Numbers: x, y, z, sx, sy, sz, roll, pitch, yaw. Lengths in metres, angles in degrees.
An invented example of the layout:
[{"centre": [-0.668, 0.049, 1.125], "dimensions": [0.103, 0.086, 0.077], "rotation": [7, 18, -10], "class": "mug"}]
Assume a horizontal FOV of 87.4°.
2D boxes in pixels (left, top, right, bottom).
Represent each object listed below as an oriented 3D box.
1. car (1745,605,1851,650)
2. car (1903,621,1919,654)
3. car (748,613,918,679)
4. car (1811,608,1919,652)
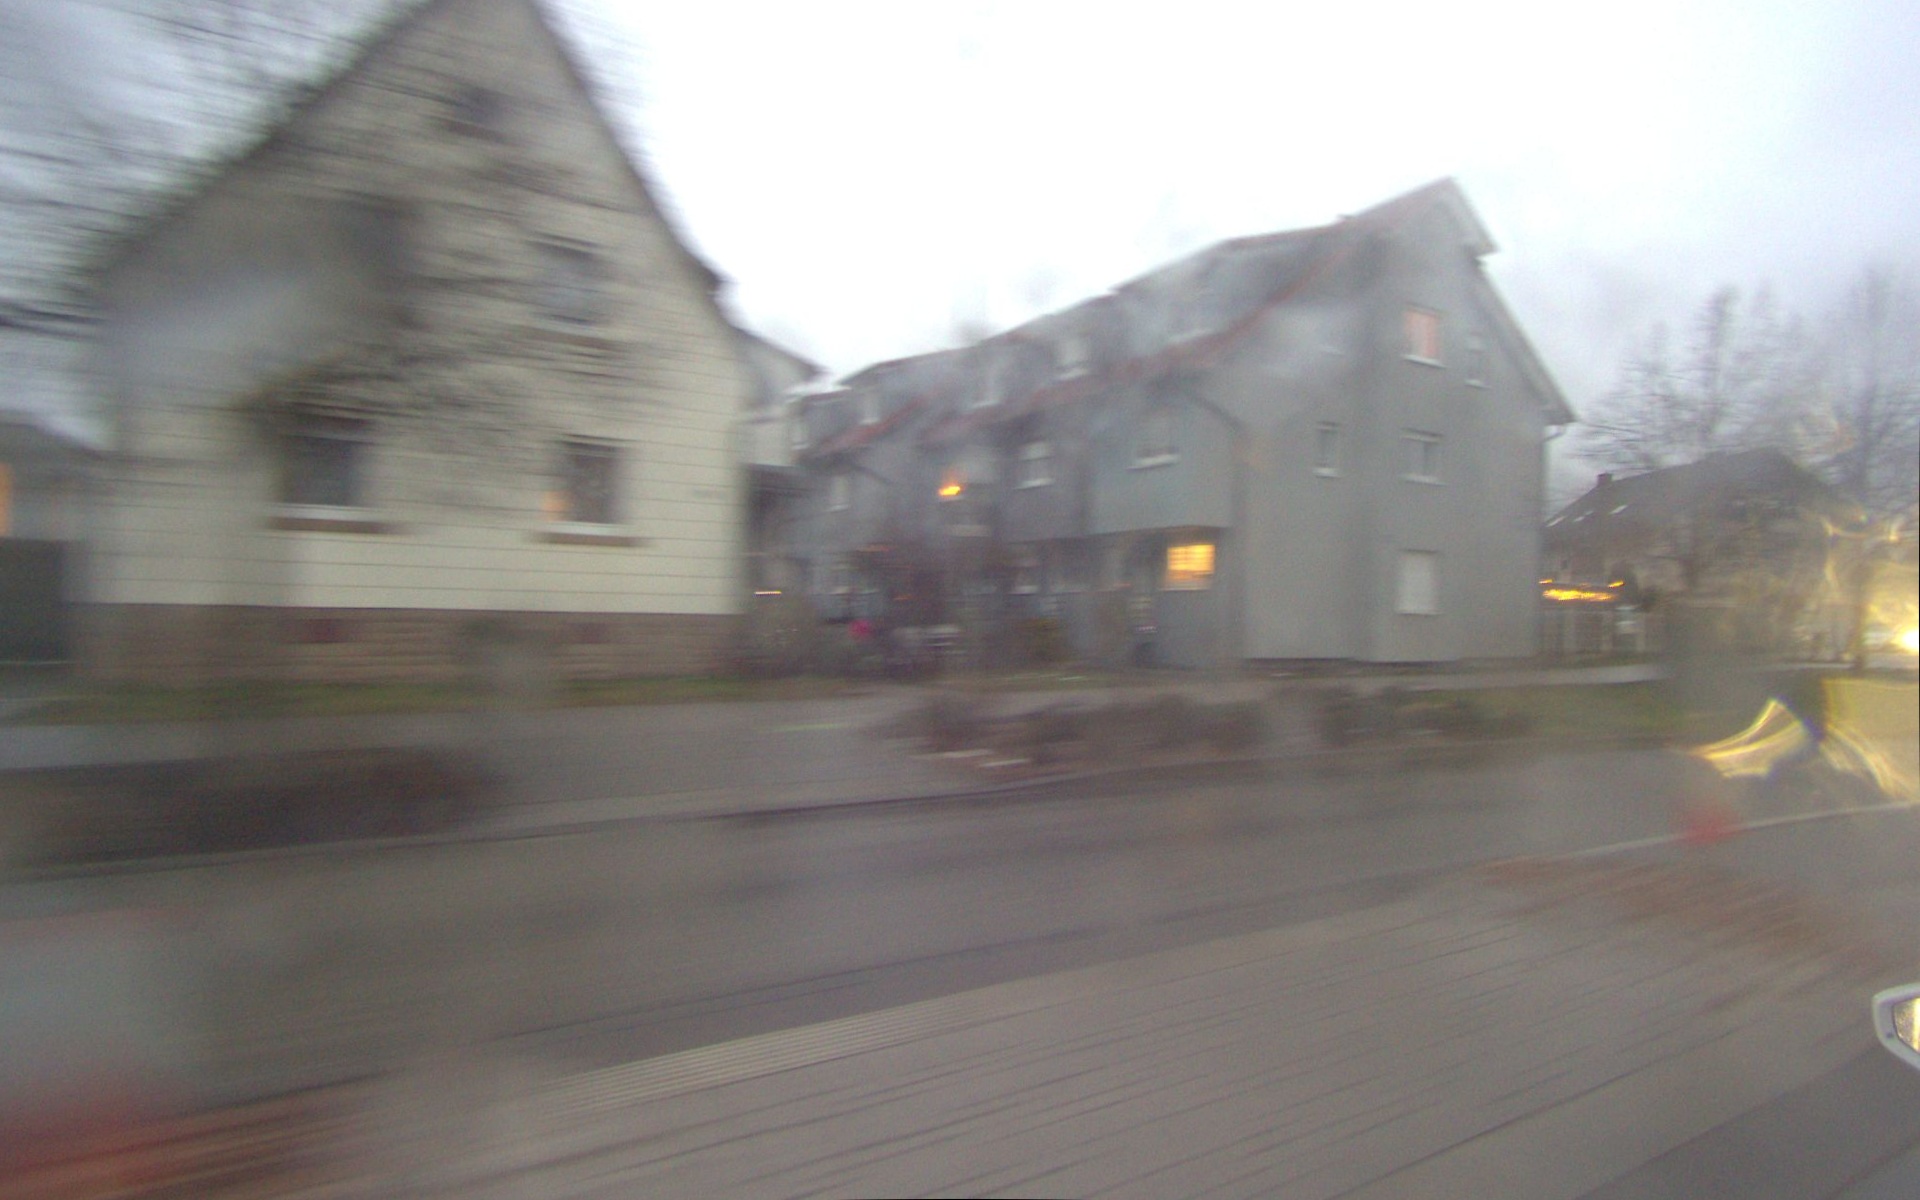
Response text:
[{"centre": [39.452, 1.291, 47.325], "dimensions": [3.934, 2.041, 1.917], "rotation": [1, 1, -16], "class": "car"}, {"centre": [44.637, 1.702, 45.124], "dimensions": [4.267, 1.457, 1.387], "rotation": [1, 1, -18], "class": "car"}, {"centre": [-3.277, 1.189, 26.007], "dimensions": [3.950, 1.546, 1.901], "rotation": [2, 0, -28], "class": "car"}, {"centre": [43.865, 1.440, 48.672], "dimensions": [4.153, 2.041, 1.993], "rotation": [1, 1, -16], "class": "car"}]
